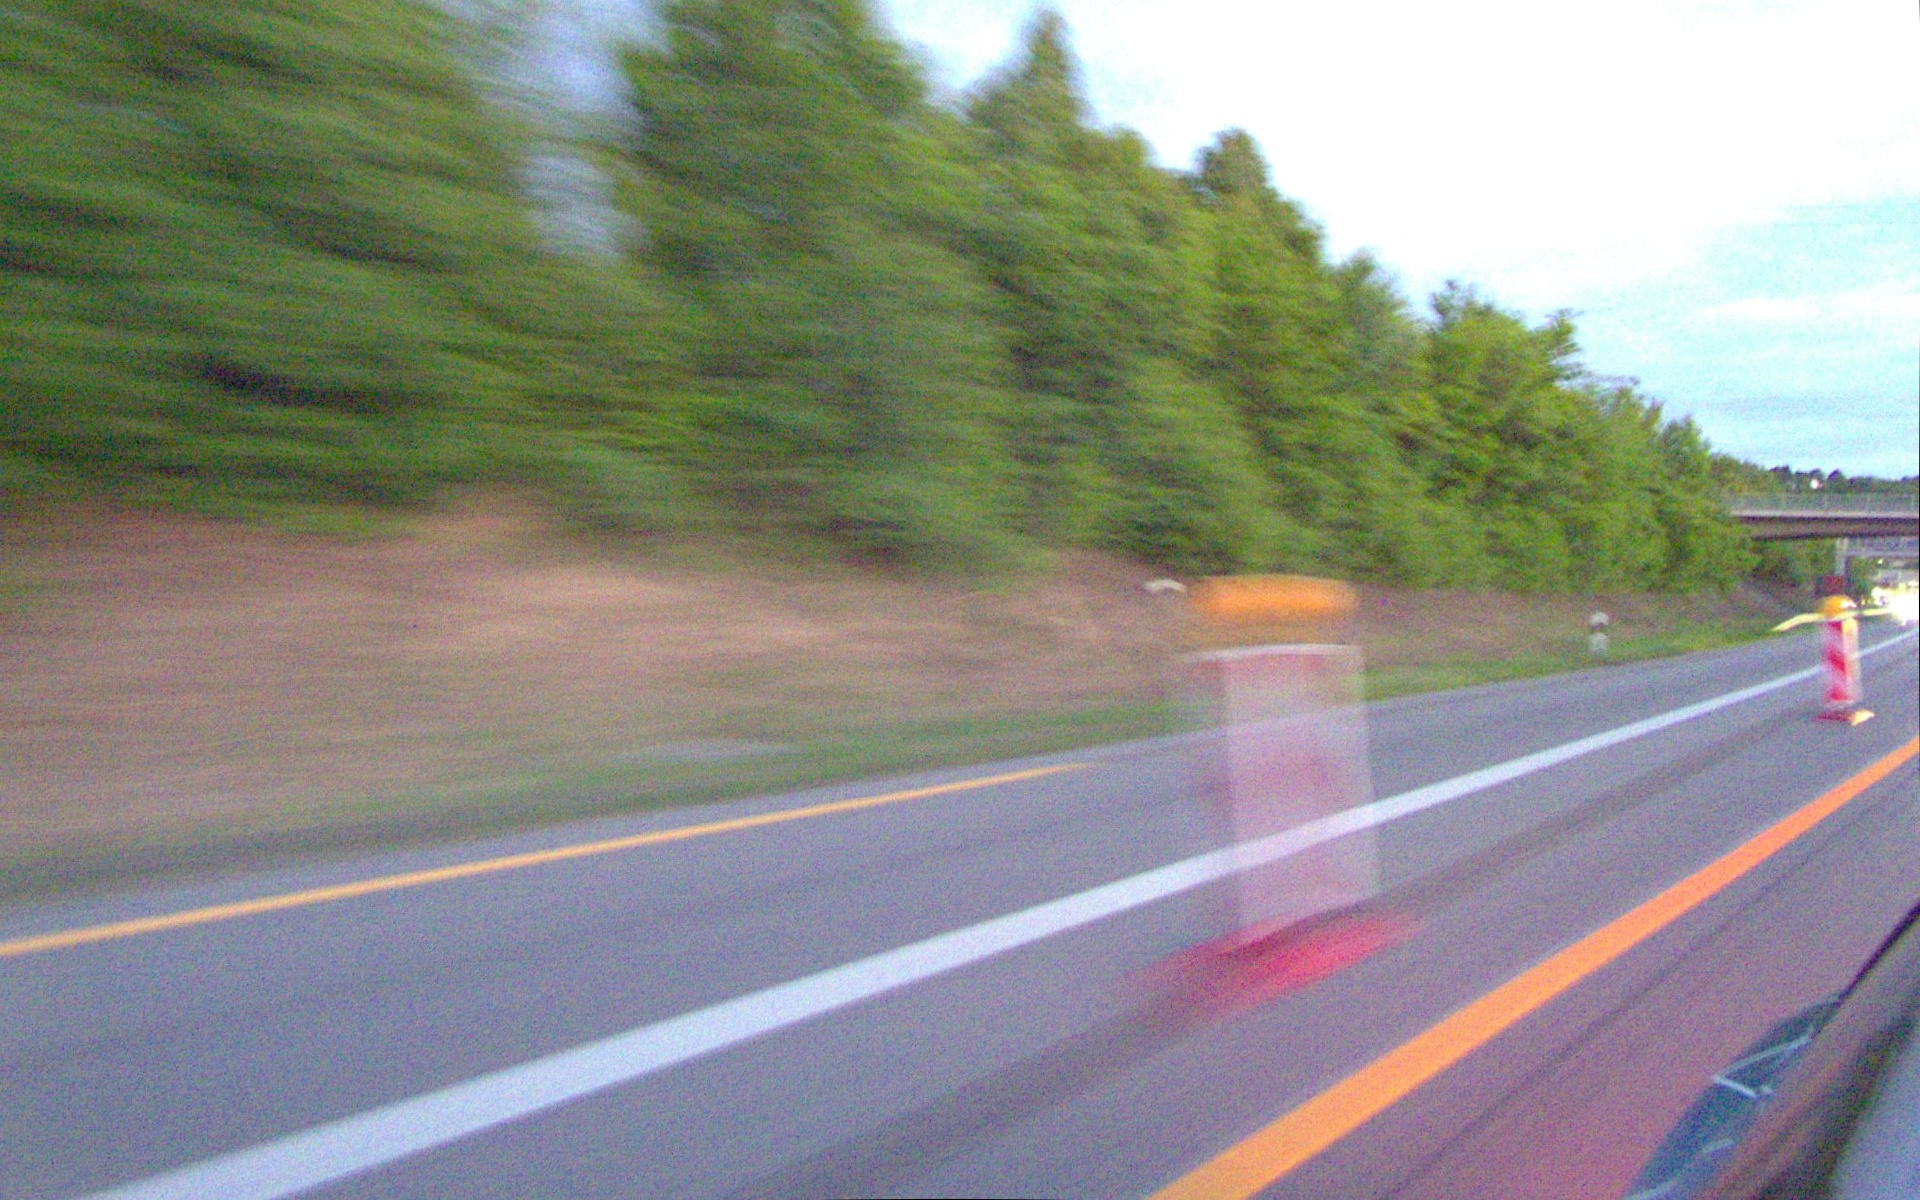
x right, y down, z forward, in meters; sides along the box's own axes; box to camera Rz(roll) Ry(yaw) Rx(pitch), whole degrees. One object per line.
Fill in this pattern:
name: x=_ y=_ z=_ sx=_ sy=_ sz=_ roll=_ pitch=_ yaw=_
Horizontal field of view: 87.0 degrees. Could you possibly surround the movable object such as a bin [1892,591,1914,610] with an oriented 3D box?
movable object such as a bin: x=166.625 y=0.042 z=178.877 sx=2.619 sy=3.146 sz=5.720 roll=2 pitch=2 yaw=41
